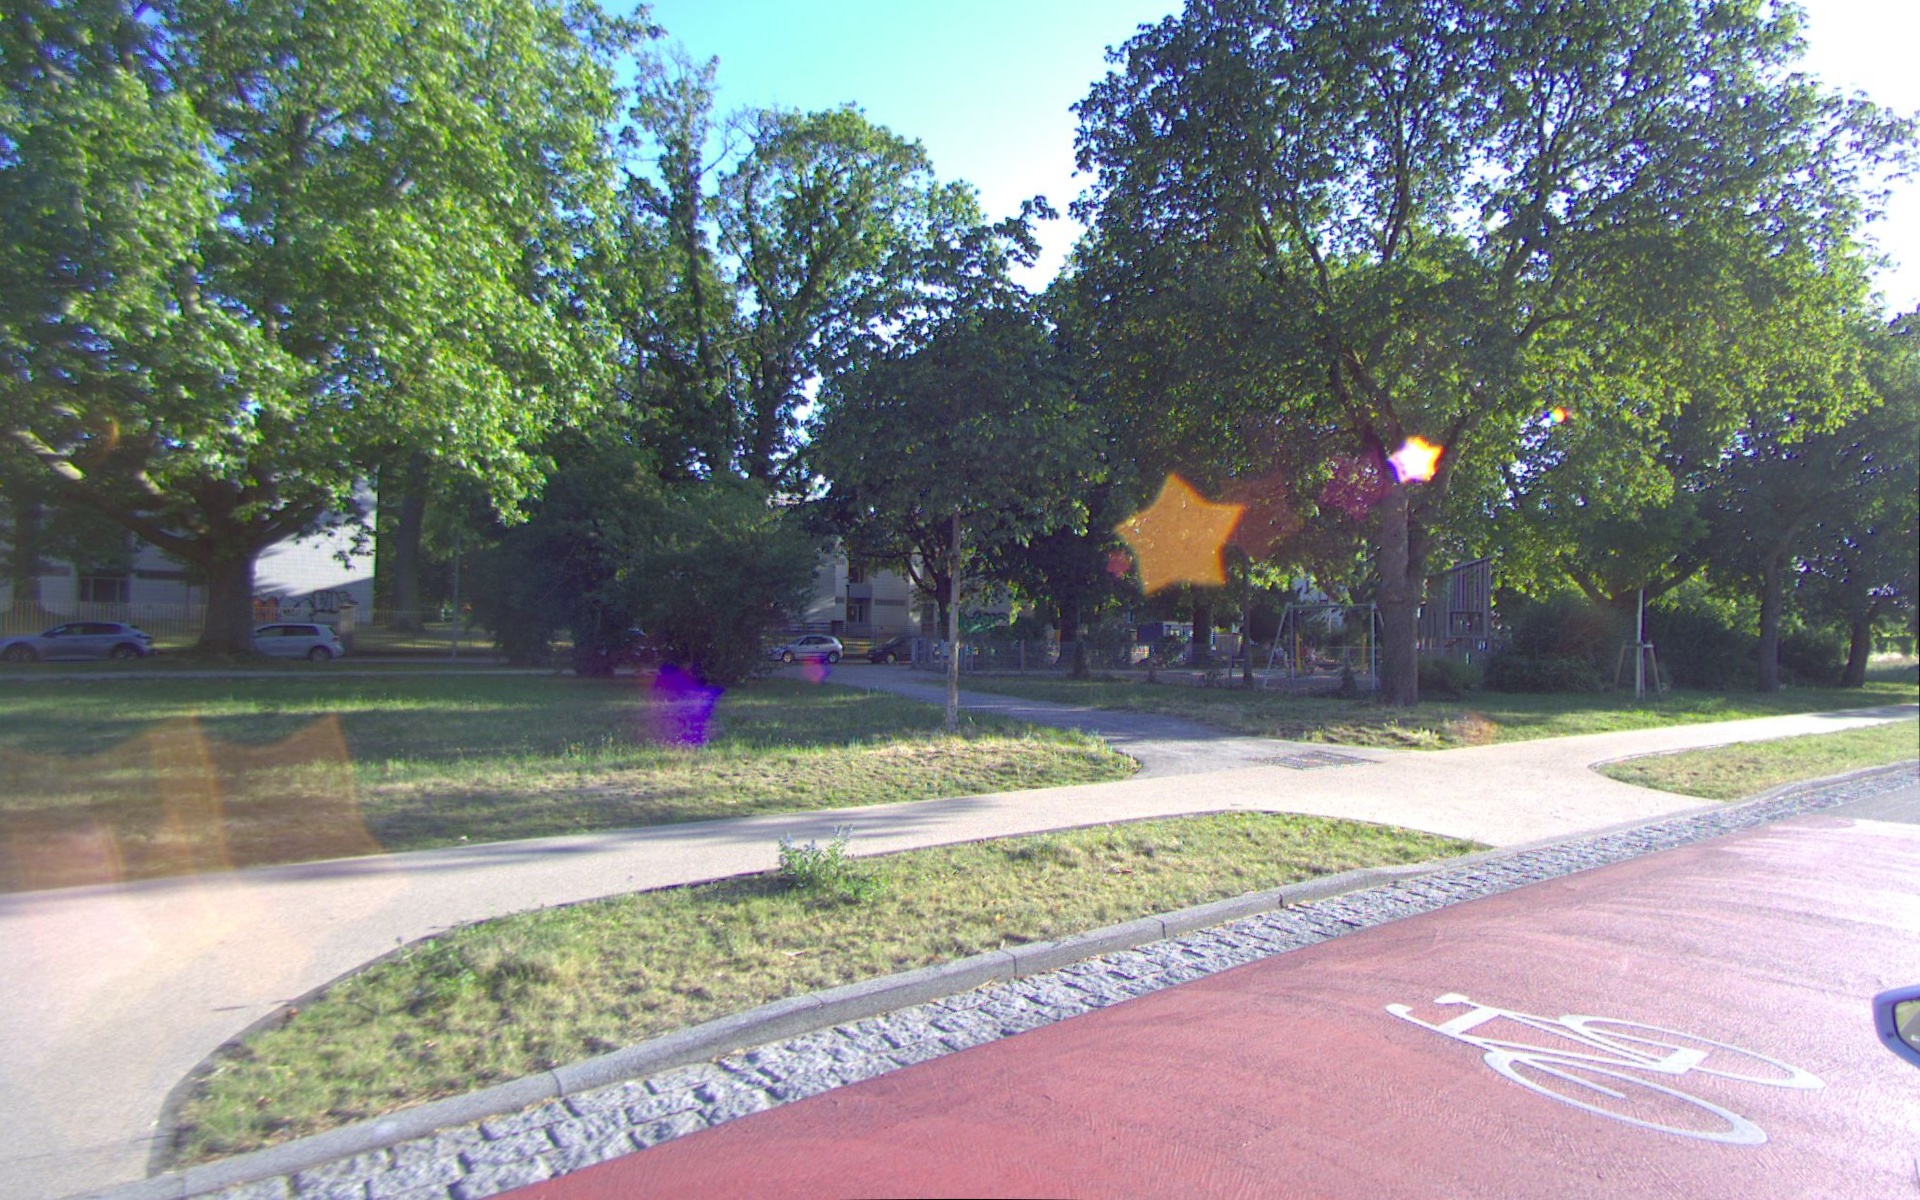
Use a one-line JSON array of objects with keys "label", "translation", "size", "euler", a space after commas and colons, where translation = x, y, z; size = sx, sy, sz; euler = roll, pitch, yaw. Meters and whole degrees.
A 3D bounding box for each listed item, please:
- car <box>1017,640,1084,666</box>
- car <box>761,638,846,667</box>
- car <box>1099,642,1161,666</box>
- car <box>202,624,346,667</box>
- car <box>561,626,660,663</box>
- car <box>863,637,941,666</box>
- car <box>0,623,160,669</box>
[{"label": "car", "translation": [5.138, 3.008, 56.935], "size": [3.715, 1.385, 1.512], "euler": [2, -2, -35]}, {"label": "car", "translation": [-7.435, 2.490, 47.905], "size": [3.715, 1.309, 1.512], "euler": [2, -2, -35]}, {"label": "car", "translation": [10.277, 3.241, 60.507], "size": [3.715, 1.385, 1.512], "euler": [2, -2, -35]}, {"label": "car", "translation": [-23.959, 1.598, 35.182], "size": [4.070, 1.385, 1.511], "euler": [2, -2, -37]}, {"label": "car", "translation": [-14.657, 1.877, 42.197], "size": [3.626, 1.483, 1.590], "euler": [3, -2, -35]}, {"label": "car", "translation": [-2.923, 2.639, 51.192], "size": [3.715, 1.385, 1.512], "euler": [2, -2, -35]}, {"label": "car", "translation": [-28.153, 1.471, 32.252], "size": [3.758, 1.385, 1.511], "euler": [2, -2, -37]}]
